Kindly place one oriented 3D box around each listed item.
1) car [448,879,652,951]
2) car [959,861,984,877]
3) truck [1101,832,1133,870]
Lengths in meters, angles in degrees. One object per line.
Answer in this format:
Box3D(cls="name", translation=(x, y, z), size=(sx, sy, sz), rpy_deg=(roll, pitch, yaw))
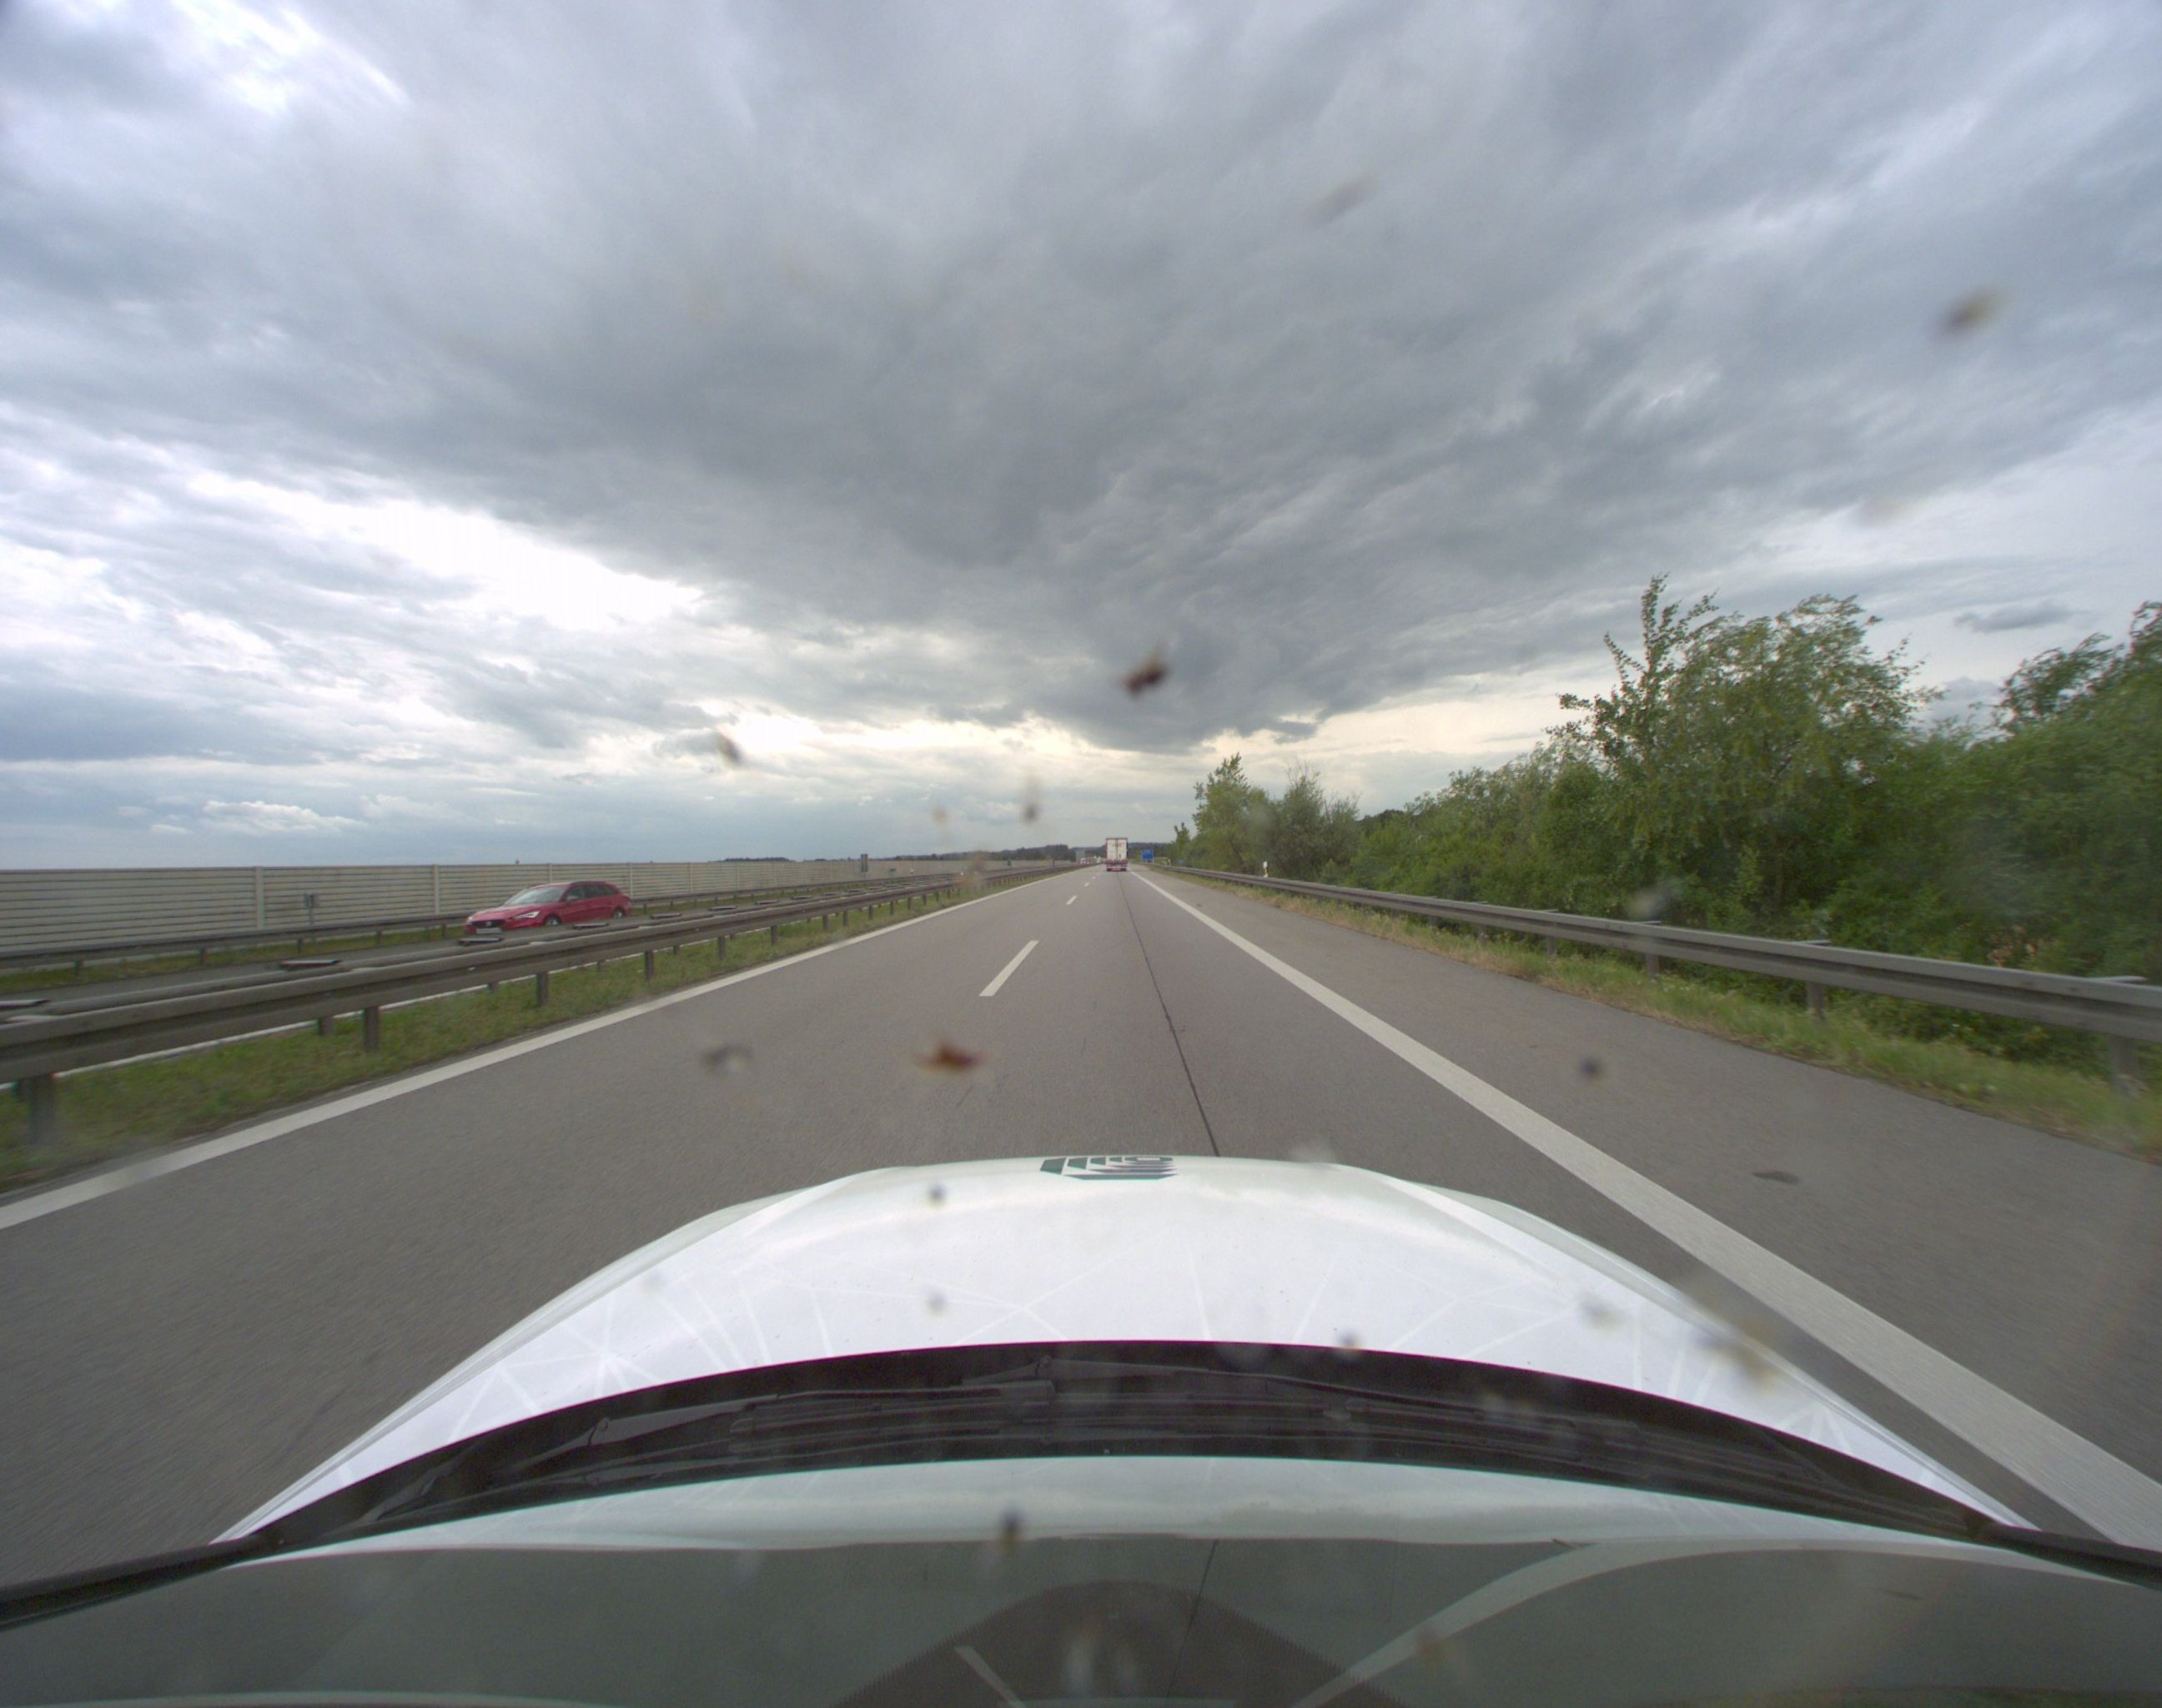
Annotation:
Box3D(cls="car", translation=(-13.307, 1.453, 20.871), size=(1.811, 1.403, 4.879), rpy_deg=(-3, 0, 2))
Box3D(cls="car", translation=(-10.824, 1.505, 80.796), size=(1.652, 1.328, 4.611), rpy_deg=(-6, 0, 2))
Box3D(cls="truck", translation=(4.515, -0.270, 105.268), size=(3.659, 4.412, 16.346), rpy_deg=(-2, 0, 2))
